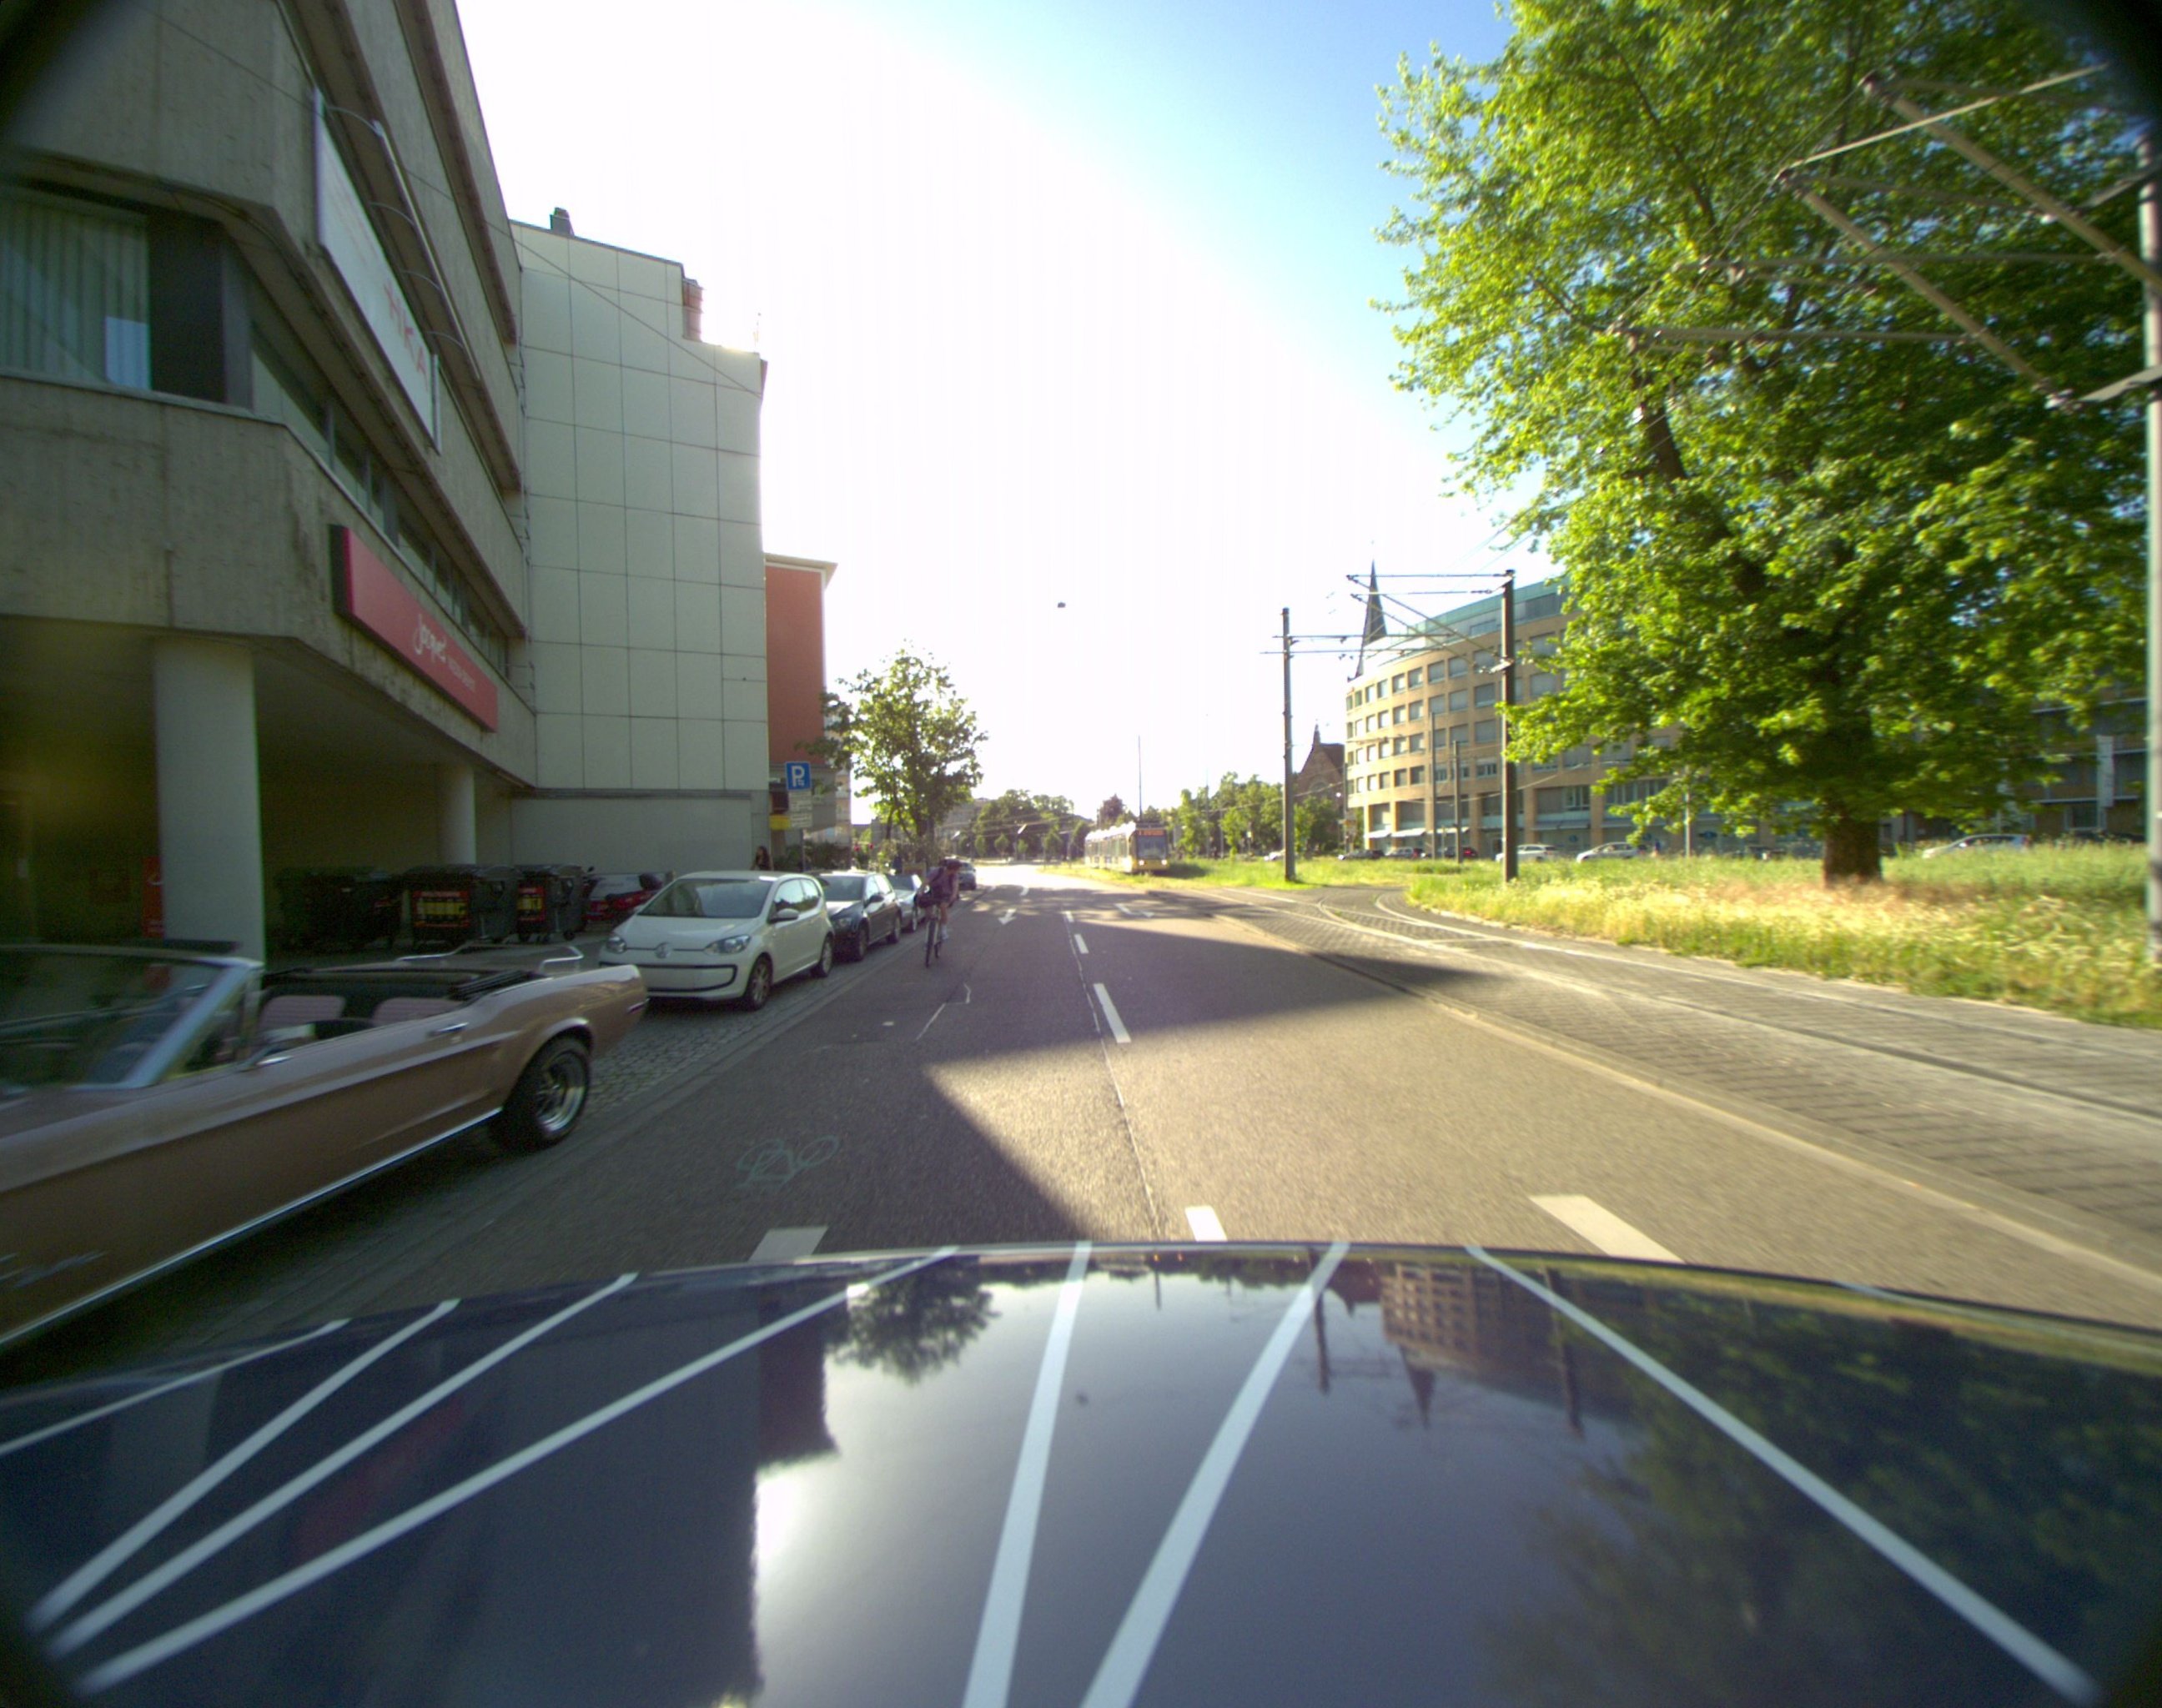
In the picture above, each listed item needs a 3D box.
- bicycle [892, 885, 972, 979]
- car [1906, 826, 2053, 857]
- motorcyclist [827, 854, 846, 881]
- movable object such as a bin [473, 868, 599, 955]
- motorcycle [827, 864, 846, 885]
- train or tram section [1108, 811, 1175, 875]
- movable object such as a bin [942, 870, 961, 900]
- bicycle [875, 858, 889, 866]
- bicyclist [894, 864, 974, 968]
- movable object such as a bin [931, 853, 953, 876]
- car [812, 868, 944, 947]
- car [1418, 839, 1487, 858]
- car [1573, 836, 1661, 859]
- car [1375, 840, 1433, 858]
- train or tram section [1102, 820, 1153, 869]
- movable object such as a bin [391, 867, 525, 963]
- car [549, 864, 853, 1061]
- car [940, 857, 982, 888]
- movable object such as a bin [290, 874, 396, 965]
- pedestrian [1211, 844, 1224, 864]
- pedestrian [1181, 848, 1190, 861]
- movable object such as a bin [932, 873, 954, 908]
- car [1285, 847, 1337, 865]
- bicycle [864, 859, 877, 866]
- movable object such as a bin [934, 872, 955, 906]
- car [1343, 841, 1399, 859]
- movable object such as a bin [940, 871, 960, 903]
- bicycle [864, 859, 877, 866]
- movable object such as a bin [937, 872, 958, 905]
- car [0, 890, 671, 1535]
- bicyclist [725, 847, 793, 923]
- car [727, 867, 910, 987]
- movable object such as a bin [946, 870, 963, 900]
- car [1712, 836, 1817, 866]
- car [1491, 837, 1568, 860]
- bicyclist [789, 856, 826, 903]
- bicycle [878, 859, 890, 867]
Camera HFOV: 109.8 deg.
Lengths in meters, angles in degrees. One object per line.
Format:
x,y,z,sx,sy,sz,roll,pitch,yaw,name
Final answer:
-2.269,1.149,11.870,0.888,1.129,2.227,-3,2,-4,bicycle
46.150,-0.616,39.223,2.004,1.346,4.755,-4,1,-45,car
-14.573,0.789,45.293,0.900,1.542,0.805,-3,2,-12,motorcyclist
-9.729,1.007,13.631,1.339,1.390,1.121,-3,2,5,movable object such as a bin
-14.573,1.216,45.358,0.778,1.120,2.294,-3,2,-12,motorcycle
3.815,-0.663,51.470,2.957,3.664,13.180,-2,0,-2,train or tram section
-4.729,1.129,27.719,0.593,1.063,0.495,-3,2,-6,movable object such as a bin
-27.116,1.106,103.436,1.759,1.070,0.405,-4,2,-29,bicycle
-2.272,0.939,11.900,1.041,1.476,0.988,-3,2,-4,bicyclist
-9.013,0.698,49.388,1.284,1.384,0.921,-3,2,-9,movable object such as a bin
-4.647,1.163,18.127,1.856,1.336,4.598,-3,2,0,car
31.025,-0.456,63.664,2.002,1.439,5.009,-4,2,-24,car
36.863,-0.427,52.391,2.003,1.419,4.499,-4,2,-31,car
32.748,-0.483,77.258,2.127,1.659,5.199,-4,2,-27,car
3.709,-0.783,64.527,2.957,3.591,13.631,-2,0,-2,train or tram section
-10.188,0.971,12.472,1.303,1.425,0.959,-3,2,5,movable object such as a bin
-4.285,1.083,9.371,1.856,1.679,3.865,-3,2,-3,car
-6.076,0.906,38.880,1.771,1.430,4.581,-1,0,-5,car
-12.143,1.058,12.533,0.794,1.376,0.852,-3,2,5,movable object such as a bin
11.844,-0.022,65.987,0.737,1.661,0.743,-2,1,-19,pedestrian
16.004,0.082,116.061,0.880,2.002,0.923,-4,2,-26,pedestrian
-4.589,1.200,25.295,0.594,1.077,0.604,-3,2,-6,movable object such as a bin
23.385,0.204,77.510,2.109,1.724,5.074,-2,1,-29,car
-30.588,1.235,110.296,1.826,1.054,0.414,-1,1,-31,bicycle
-4.639,1.183,25.886,0.612,1.099,0.525,-3,2,-6,movable object such as a bin
26.933,-0.372,70.747,2.002,1.508,4.651,-4,2,-28,car
-4.654,1.170,27.091,0.608,1.063,0.613,-3,2,-7,movable object such as a bin
-30.438,1.239,109.776,1.826,1.054,0.414,-2,2,-31,bicycle
-4.652,1.197,26.455,0.606,1.063,0.545,-3,2,-6,movable object such as a bin
-3.771,1.083,2.913,1.779,1.445,4.729,-3,2,-1,car
-7.247,0.692,17.132,0.940,1.624,0.936,-2,2,29,bicyclist
-4.354,1.121,13.338,1.675,1.510,4.197,-3,2,0,car
-4.821,1.187,28.961,0.575,1.076,0.570,-3,2,-6,movable object such as a bin
41.030,-0.226,45.699,2.003,1.505,4.270,-3,4,-31,car
34.080,-0.442,57.806,2.002,1.587,4.645,-4,2,-28,car
-8.200,0.759,22.792,0.760,1.319,0.993,-3,2,-6,bicyclist
-26.373,1.220,101.811,1.436,1.005,0.410,-1,1,-26,bicycle
